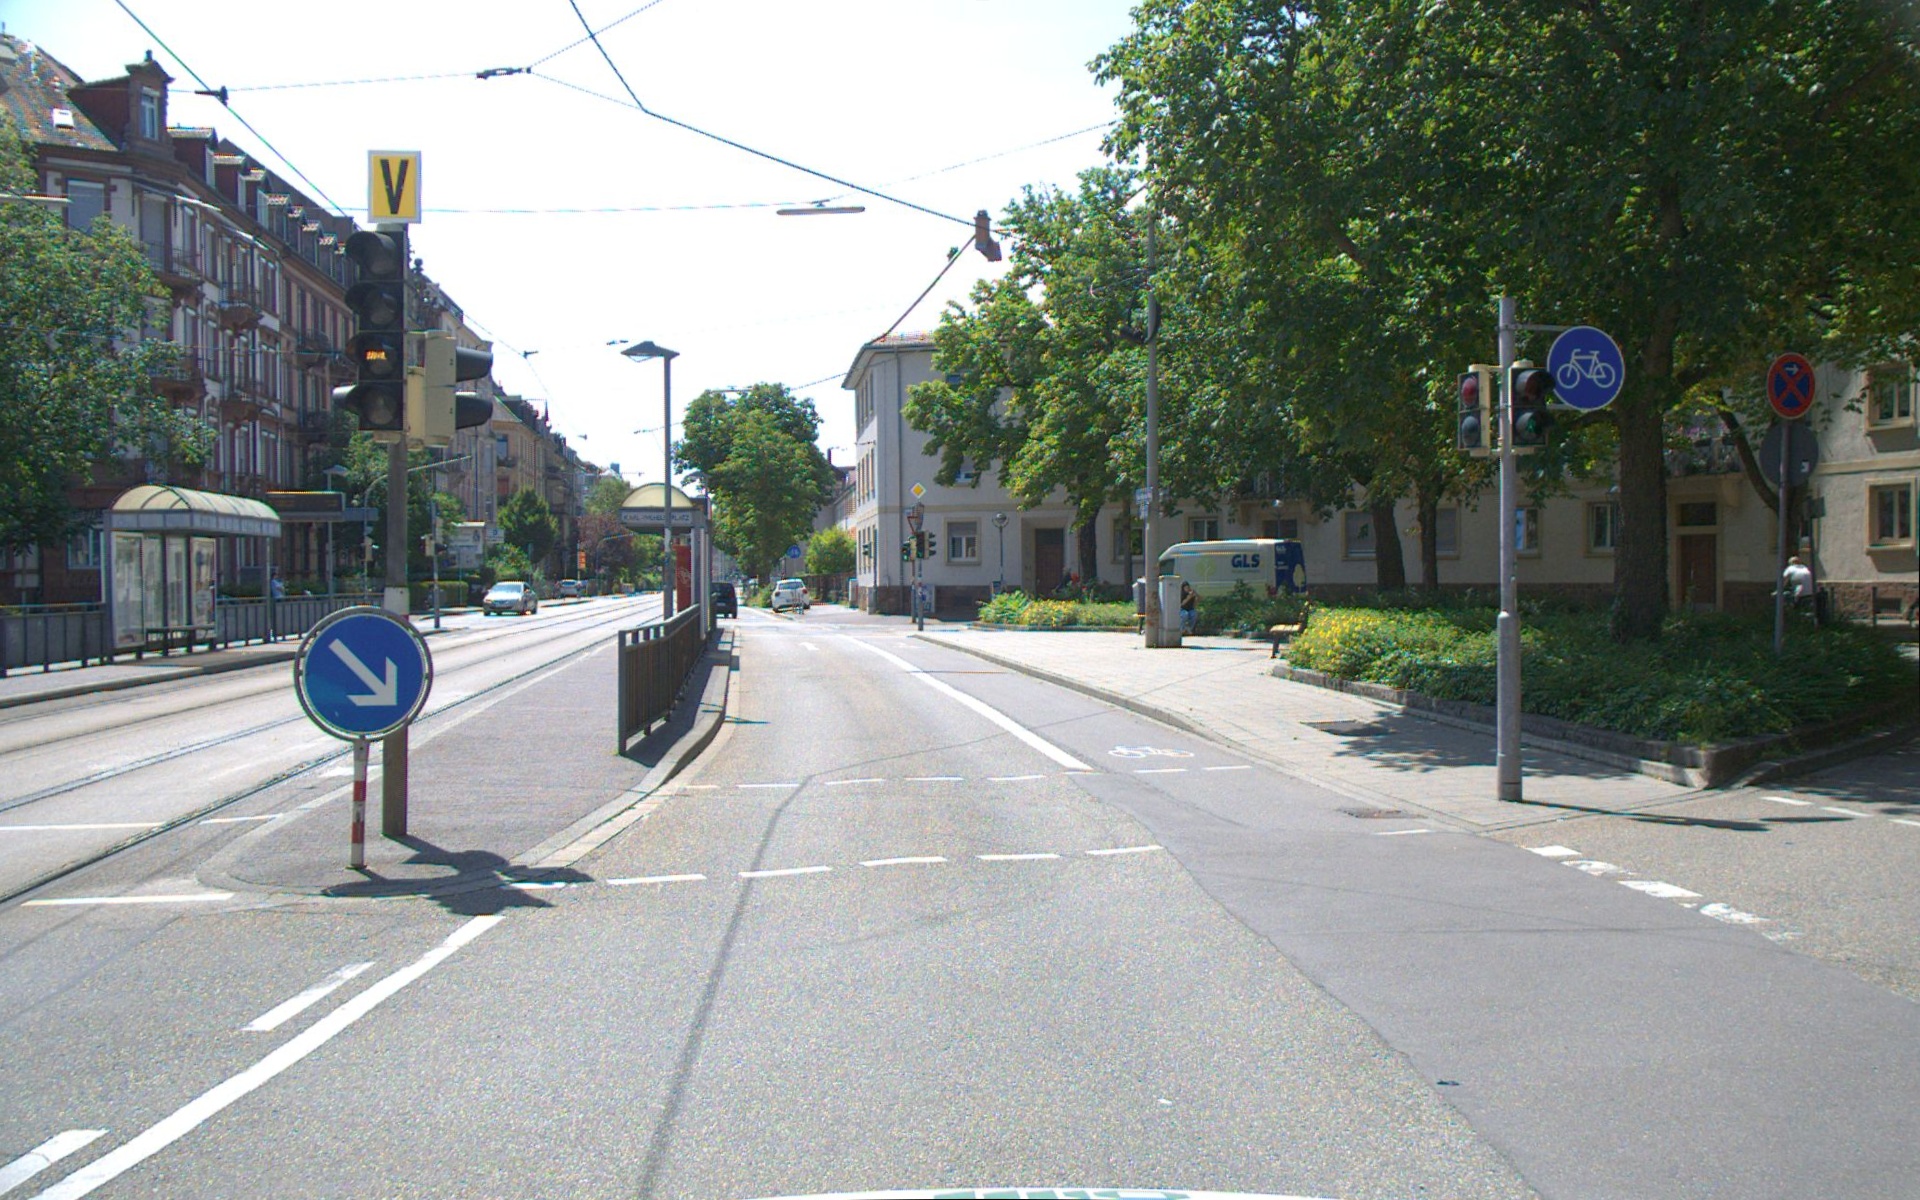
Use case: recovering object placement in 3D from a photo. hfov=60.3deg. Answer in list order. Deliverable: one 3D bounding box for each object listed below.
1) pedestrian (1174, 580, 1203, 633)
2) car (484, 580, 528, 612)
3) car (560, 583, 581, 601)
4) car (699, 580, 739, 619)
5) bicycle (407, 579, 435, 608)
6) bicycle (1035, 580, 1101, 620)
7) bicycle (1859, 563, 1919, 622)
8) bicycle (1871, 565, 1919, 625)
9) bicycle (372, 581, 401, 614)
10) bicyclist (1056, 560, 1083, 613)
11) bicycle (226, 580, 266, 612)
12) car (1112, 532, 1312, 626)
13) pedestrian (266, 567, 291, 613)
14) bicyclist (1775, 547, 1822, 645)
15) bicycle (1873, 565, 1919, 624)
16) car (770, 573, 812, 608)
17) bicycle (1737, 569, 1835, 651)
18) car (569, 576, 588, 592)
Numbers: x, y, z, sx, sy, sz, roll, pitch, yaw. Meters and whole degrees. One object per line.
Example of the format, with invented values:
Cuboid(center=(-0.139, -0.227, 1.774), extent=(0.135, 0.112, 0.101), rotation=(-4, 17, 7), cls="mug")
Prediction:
Cuboid(center=(4.889, 0.137, 35.371), extent=(0.499, 1.111, 0.478), rotation=(-2, 2, -3), cls="pedestrian")
Cuboid(center=(-19.849, -0.196, 72.429), extent=(1.512, 1.362, 3.711), rotation=(0, 0, -10), cls="car")
Cuboid(center=(-36.069, -0.740, 153.135), extent=(1.654, 1.498, 3.928), rotation=(-4, 1, -11), cls="car")
Cuboid(center=(-9.743, -0.018, 66.878), extent=(1.496, 1.469, 3.359), rotation=(-2, 1, -8), cls="car")
Cuboid(center=(-25.339, -0.307, 77.778), extent=(0.586, 1.380, 2.411), rotation=(0, 0, -34), cls="bicycle")
Cuboid(center=(3.445, 0.005, 52.910), extent=(2.039, 1.258, 0.580), rotation=(0, 0, 25), cls="bicycle")
Cuboid(center=(22.020, -0.171, 38.132), extent=(2.272, 1.368, 0.515), rotation=(0, 0, 3), cls="bicycle")
Cuboid(center=(21.956, -0.118, 37.595), extent=(2.189, 1.371, 0.515), rotation=(0, 0, 3), cls="bicycle")
Cuboid(center=(-24.763, -0.124, 71.436), extent=(0.609, 1.420, 2.280), rotation=(0, 0, -34), cls="bicycle")
Cuboid(center=(3.504, -0.439, 52.890), extent=(0.680, 1.675, 0.580), rotation=(0, 0, 25), cls="bicyclist")
Cuboid(center=(-26.928, -0.162, 62.377), extent=(0.356, 1.189, 1.518), rotation=(1, 1, 26), cls="bicycle")
Cuboid(center=(7.402, -0.627, 49.031), extent=(5.747, 2.635, 1.988), rotation=(0, 1, 42), cls="car")
Cuboid(center=(-25.059, -0.378, 60.817), extent=(0.461, 1.643, 0.650), rotation=(3, 2, 39), cls="pedestrian")
Cuboid(center=(15.741, -0.080, 31.066), extent=(0.590, 1.831, 0.533), rotation=(0, 0, -7), cls="bicyclist")
Cuboid(center=(21.665, -0.121, 37.038), extent=(2.106, 1.323, 0.547), rotation=(0, 0, 3), cls="bicycle")
Cuboid(center=(-8.030, -0.474, 78.373), extent=(1.715, 1.498, 3.930), rotation=(-4, 1, -9), cls="car")
Cuboid(center=(15.693, 0.182, 31.471), extent=(0.580, 1.511, 2.165), rotation=(0, 0, -7), cls="bicycle")
Cuboid(center=(-37.235, -1.559, 161.466), extent=(1.599, 1.498, 3.554), rotation=(-4, 1, -11), cls="car")
